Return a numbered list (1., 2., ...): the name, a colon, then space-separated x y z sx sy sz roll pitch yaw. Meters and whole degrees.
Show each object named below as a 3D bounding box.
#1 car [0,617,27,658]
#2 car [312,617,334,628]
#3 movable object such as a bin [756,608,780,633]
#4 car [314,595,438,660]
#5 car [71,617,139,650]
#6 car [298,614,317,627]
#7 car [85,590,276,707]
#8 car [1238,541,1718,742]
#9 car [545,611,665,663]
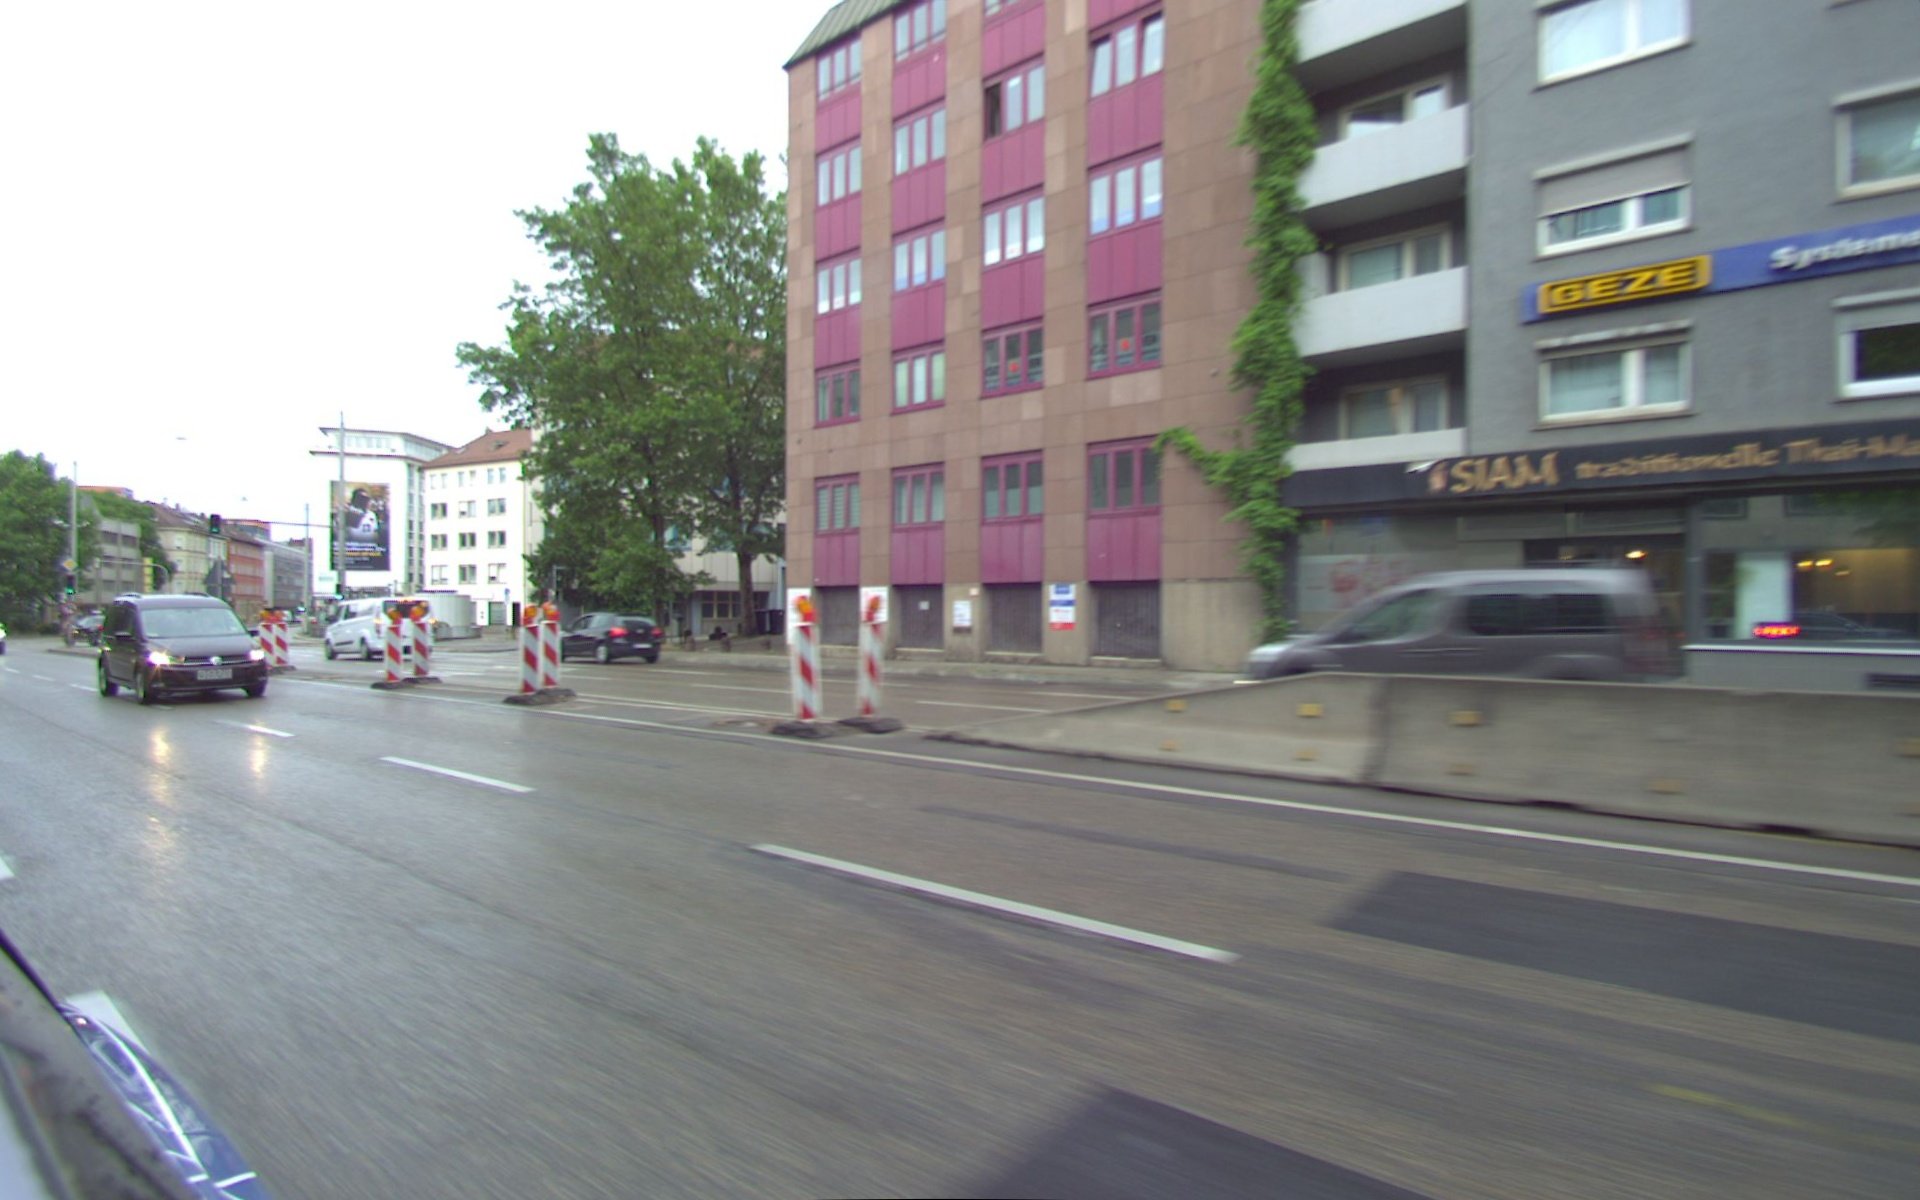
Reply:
1. car: -38.948 1.471 40.634 3.999 1.588 1.823 -1 -1 42
2. car: -87.011 3.066 138.267 1.843 1.590 4.013 0 -1 -23
3. movable object such as a bin: -7.780 0.811 41.029 0.861 1.003 0.790 0 -1 -5
4. car: -19.511 0.886 33.704 5.286 2.005 1.973 -1 -1 41
5. car: -46.292 1.806 54.756 4.933 1.690 1.973 -1 -2 40
6. car: -101.364 3.173 157.214 1.965 1.857 4.455 0 -1 -25
7. car: -13.800 0.792 17.838 4.121 1.813 1.773 -1 0 39
8. car: 5.498 0.401 11.136 4.423 1.784 1.703 -1 -1 42
9. car: -10.387 1.039 29.507 4.021 1.410 1.680 -1 -1 44
